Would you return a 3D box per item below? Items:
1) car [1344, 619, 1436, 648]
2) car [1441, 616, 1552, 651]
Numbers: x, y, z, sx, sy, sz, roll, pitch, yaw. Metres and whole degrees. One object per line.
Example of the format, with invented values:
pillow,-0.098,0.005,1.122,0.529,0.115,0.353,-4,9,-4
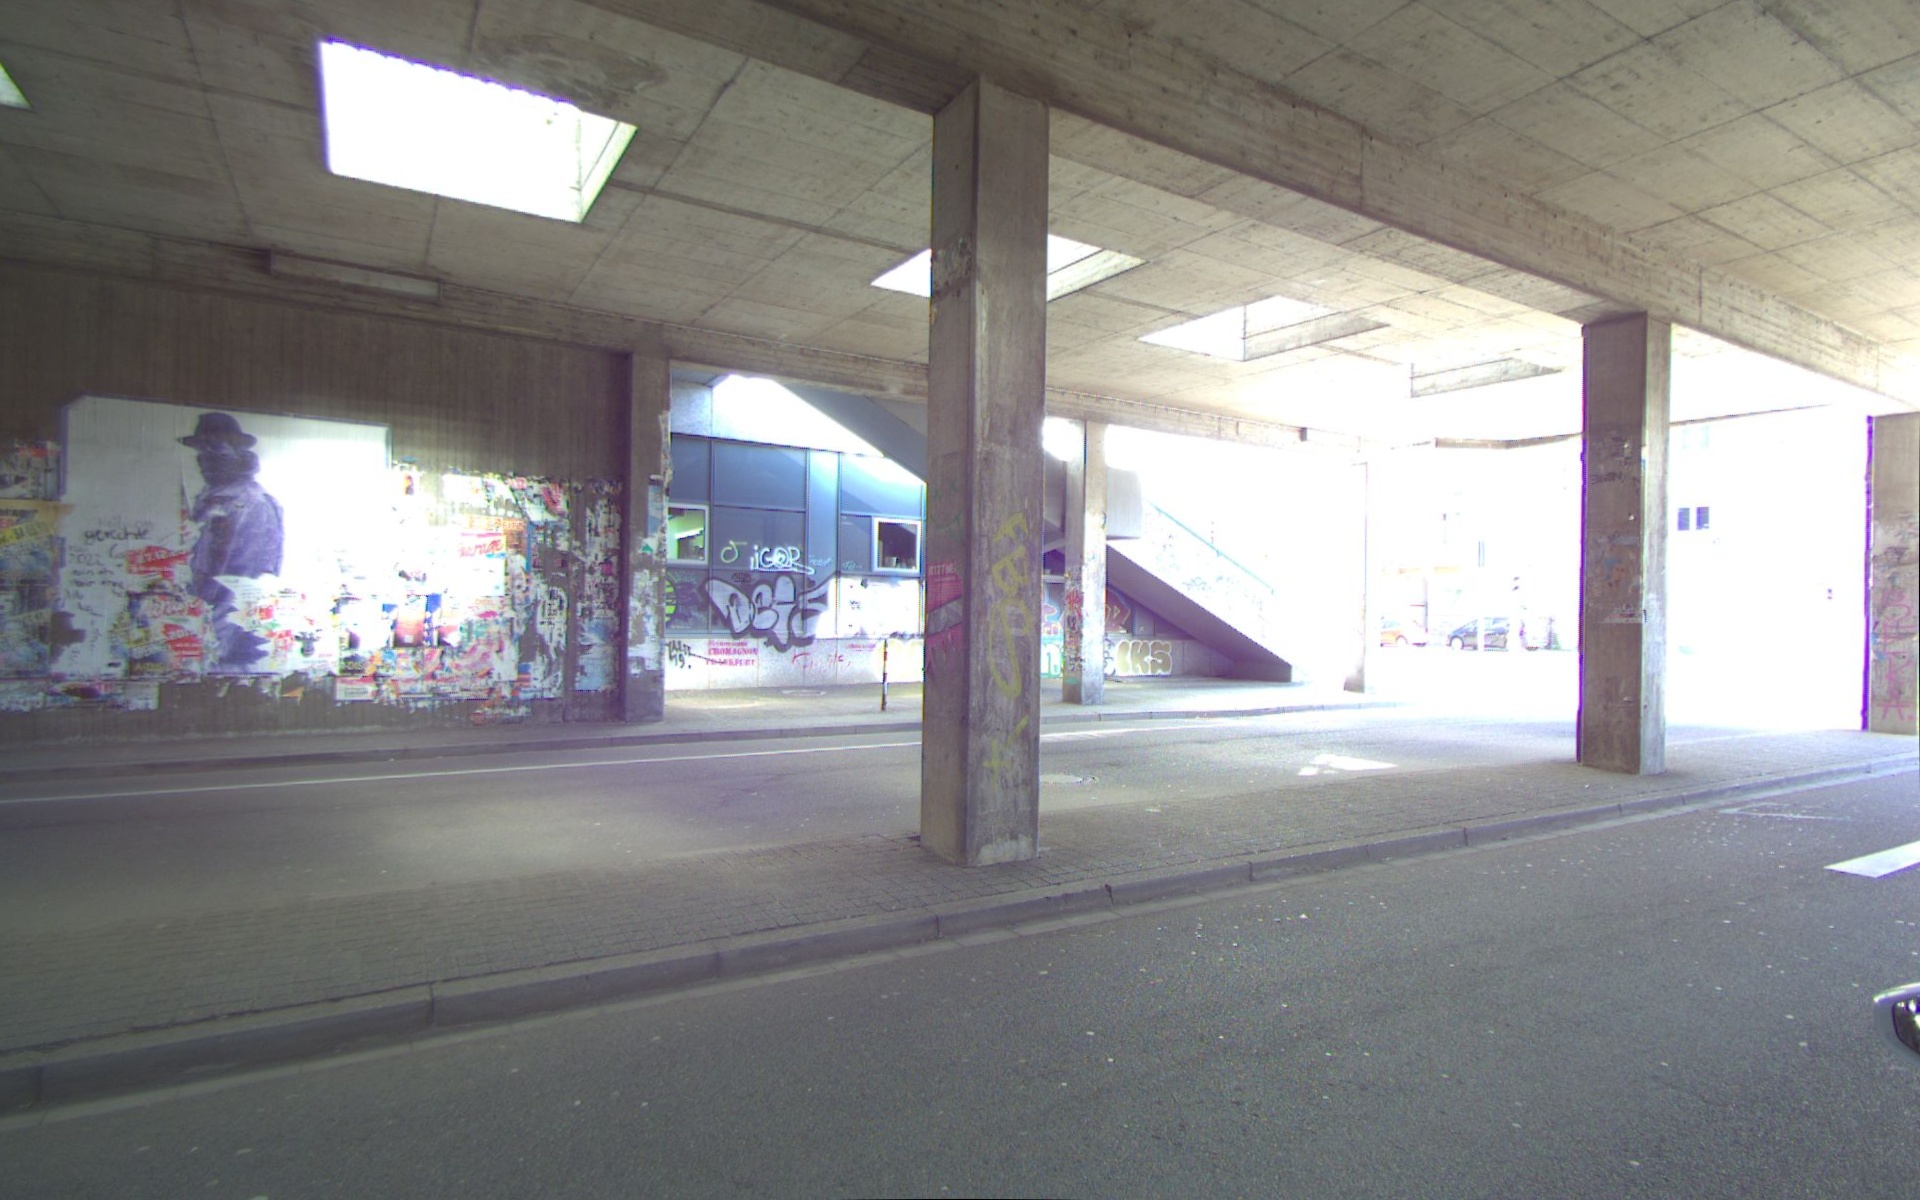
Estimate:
car,22.482,1.743,52.662,2.163,1.392,3.971,1,-1,-28
car,25.403,1.559,47.650,2.240,1.571,4.111,1,-1,-29
